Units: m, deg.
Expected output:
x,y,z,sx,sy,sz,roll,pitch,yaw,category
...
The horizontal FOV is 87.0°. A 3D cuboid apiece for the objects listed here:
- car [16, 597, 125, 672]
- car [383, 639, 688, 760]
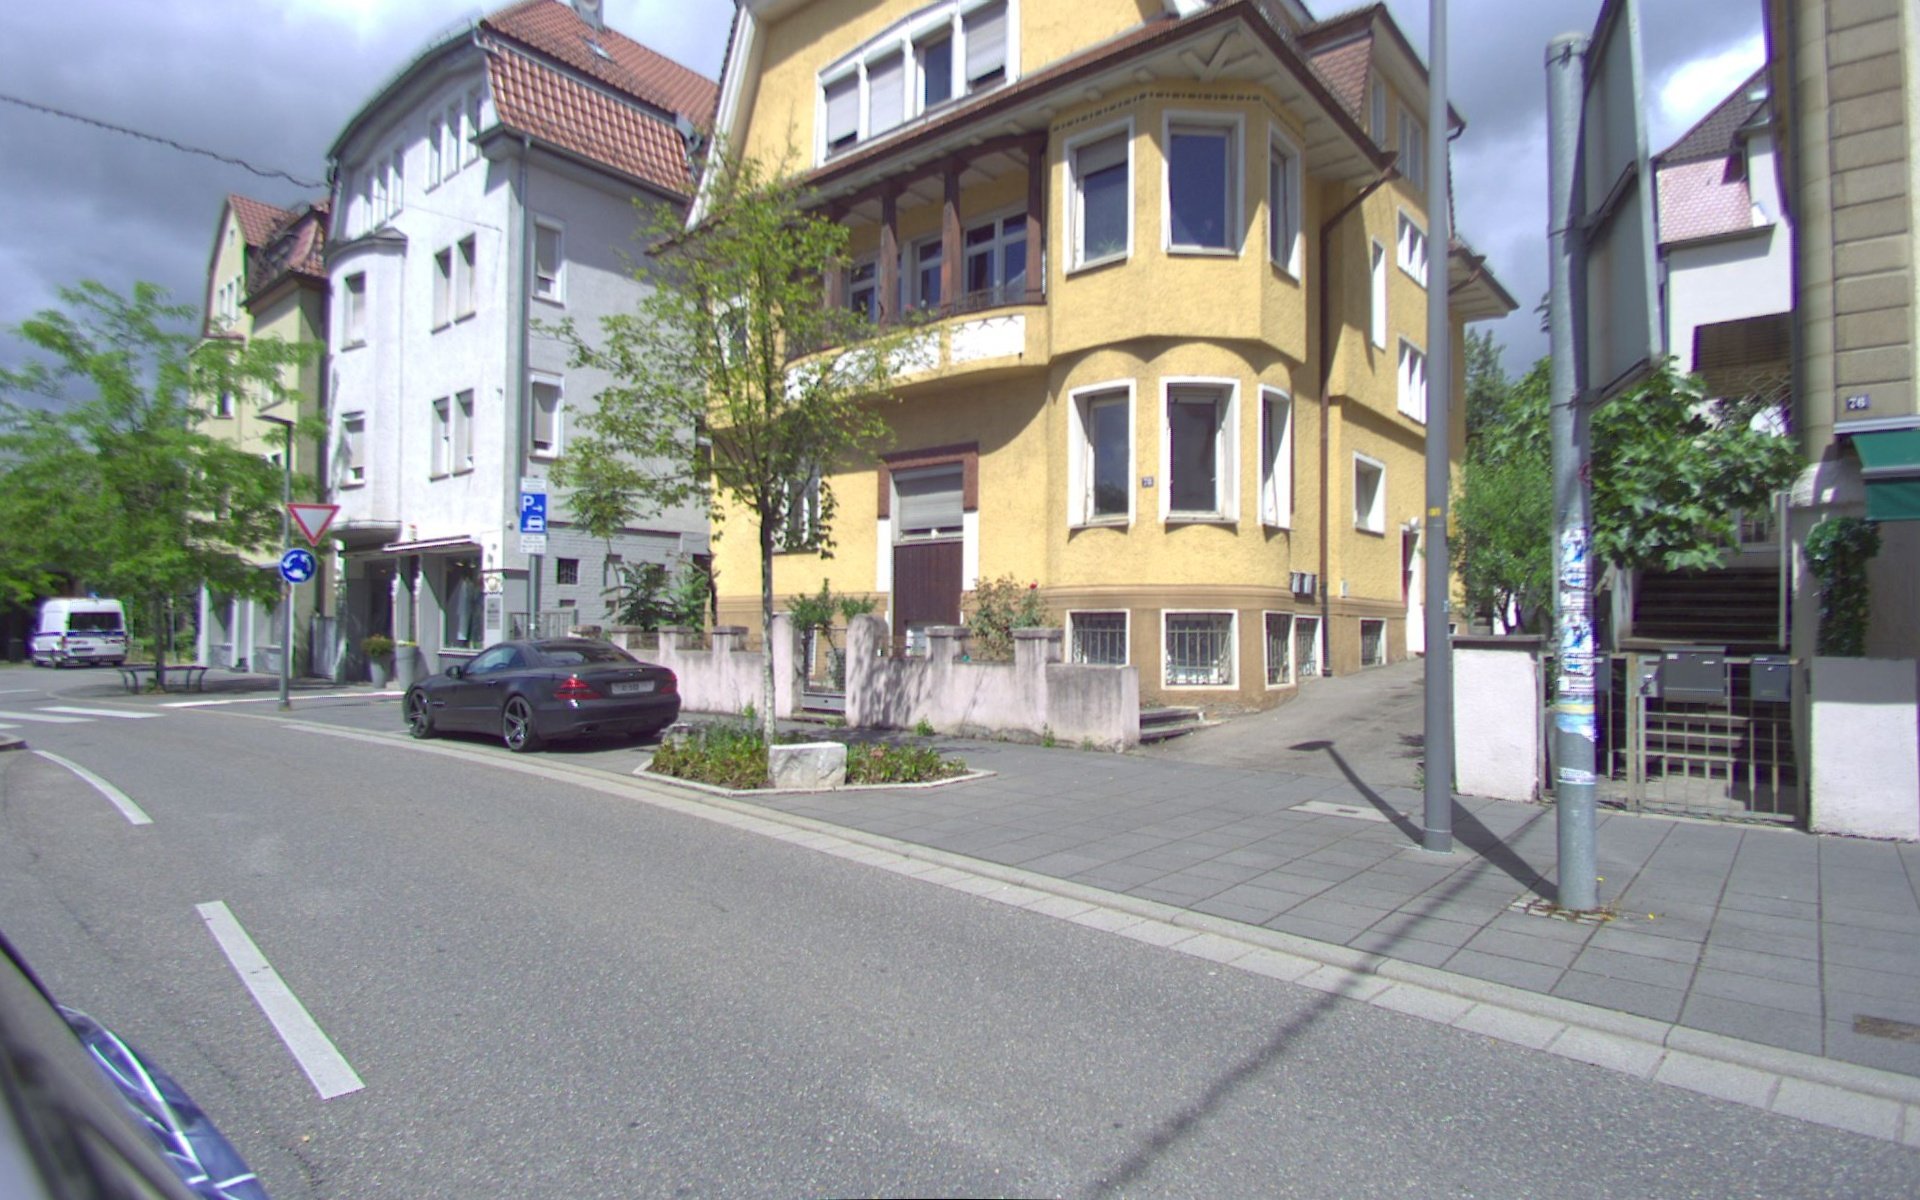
x,y,z,sx,sy,sz,roll,pitch,yaw,category
-33.663,1.293,38.233,5.920,2.626,1.949,-2,-1,37,car
-5.478,1.147,12.786,4.406,1.255,1.693,-2,-2,39,car
